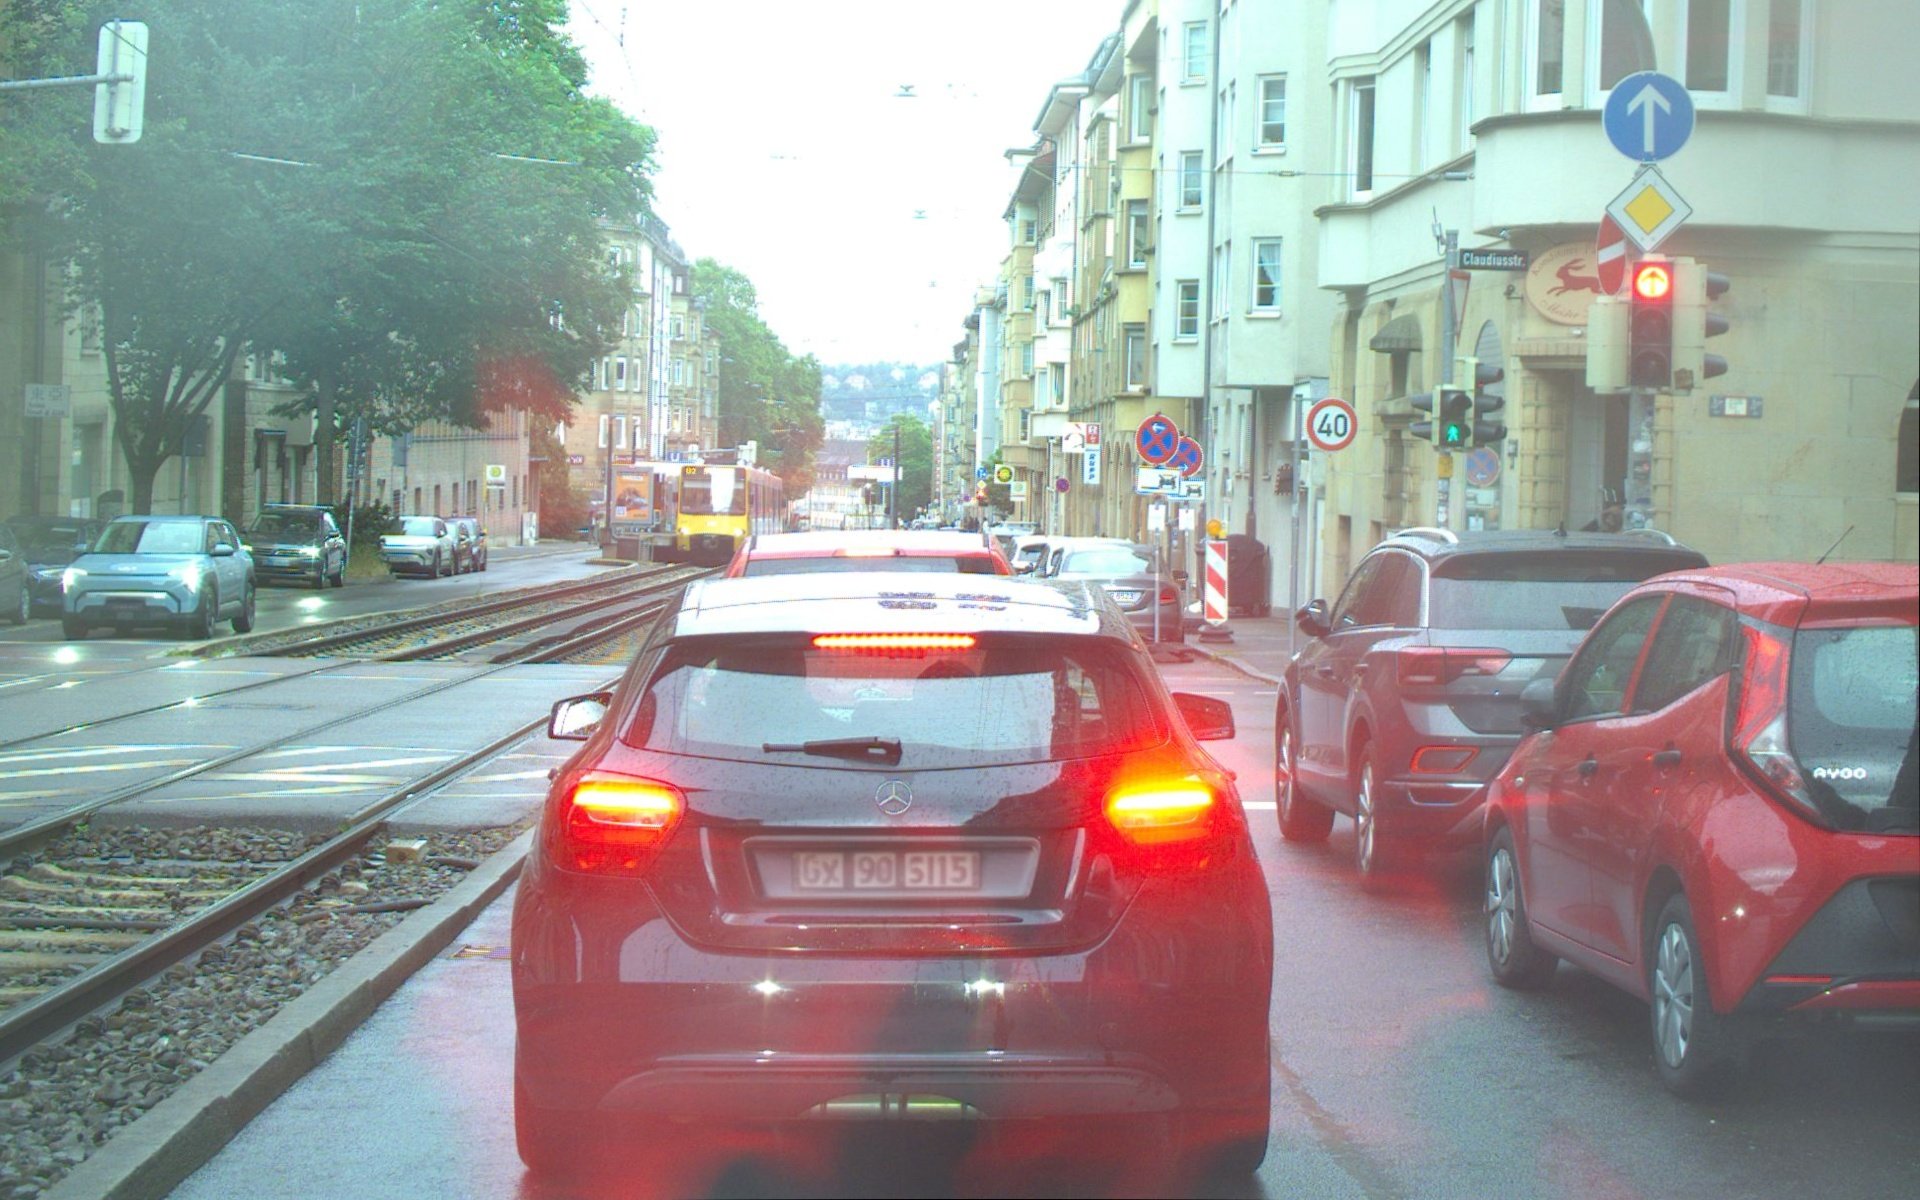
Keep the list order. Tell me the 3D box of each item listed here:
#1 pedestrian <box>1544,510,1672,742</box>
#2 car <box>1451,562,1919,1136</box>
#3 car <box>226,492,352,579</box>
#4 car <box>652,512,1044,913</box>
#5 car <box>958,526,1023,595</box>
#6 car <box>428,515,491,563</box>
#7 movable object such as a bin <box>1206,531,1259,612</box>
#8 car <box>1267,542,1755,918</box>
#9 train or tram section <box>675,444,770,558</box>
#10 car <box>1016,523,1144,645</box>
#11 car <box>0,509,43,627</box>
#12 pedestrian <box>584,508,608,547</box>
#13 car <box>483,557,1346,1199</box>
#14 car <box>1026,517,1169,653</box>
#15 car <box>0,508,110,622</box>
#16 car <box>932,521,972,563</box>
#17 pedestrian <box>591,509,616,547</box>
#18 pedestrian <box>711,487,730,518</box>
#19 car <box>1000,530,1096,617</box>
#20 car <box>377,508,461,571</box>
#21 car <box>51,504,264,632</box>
[{"bbox_3d":[4.982,0.193,26.497,0.741,1.742,1.111,1,0,-1],"label":"pedestrian"},{"bbox_3d":[2.651,0.635,10.513,1.642,1.443,3.299,1,1,-3],"label":"car"},{"bbox_3d":[-13.958,-1.328,71.689,1.875,1.731,3.918,1,0,-1],"label":"car"},{"bbox_3d":[-0.478,0.438,15.832,1.565,1.604,3.814,1,0,-1],"label":"car"},{"bbox_3d":[0.634,-0.855,73.582,1.294,1.437,2.929,1,1,-1],"label":"car"},{"bbox_3d":[-14.339,-1.731,98.562,1.448,1.326,3.272,1,0,-2],"label":"car"},{"bbox_3d":[4.712,-0.499,59.560,0.878,1.384,0.982,1,0,3],"label":"movable object such as a bin"},{"bbox_3d":[2.387,0.491,15.752,1.544,1.481,3.830,1,1,-1],"label":"car"},{"bbox_3d":[-8.457,-3.457,123.444,2.783,3.847,10.430,1,0,-1],"label":"train or tram section"},{"bbox_3d":[1.612,-0.243,47.104,1.544,1.585,3.548,1,1,-1],"label":"car"},{"bbox_3d":[-13.483,-0.433,45.680,1.752,1.547,4.036,1,0,-4],"label":"car"},{"bbox_3d":[-18.526,-3.684,174.954,1.053,1.951,1.043,2,1,1],"label":"pedestrian"},{"bbox_3d":[-0.125,0.640,9.445,1.829,1.453,4.104,1,1,-1],"label":"car"},{"bbox_3d":[1.668,-0.206,42.629,1.544,1.585,3.548,1,1,-1],"label":"car"},{"bbox_3d":[-13.736,-0.522,50.711,1.716,1.605,3.919,1,0,-5],"label":"car"},{"bbox_3d":[-0.325,-2.360,139.526,1.544,1.630,3.686,1,1,0],"label":"car"},{"bbox_3d":[-18.267,-3.689,176.154,1.053,1.951,1.043,2,1,1],"label":"pedestrian"},{"bbox_3d":[-15.790,-6.429,226.584,1.053,1.951,1.043,2,1,1],"label":"pedestrian"},{"bbox_3d":[1.553,-0.496,61.513,1.544,1.481,3.548,1,1,-1],"label":"car"},{"bbox_3d":[-13.996,-1.545,89.153,1.589,1.575,3.918,1,0,-1],"label":"car"},{"bbox_3d":[-10.458,-0.415,45.067,1.898,1.582,3.973,1,0,-1],"label":"car"}]
